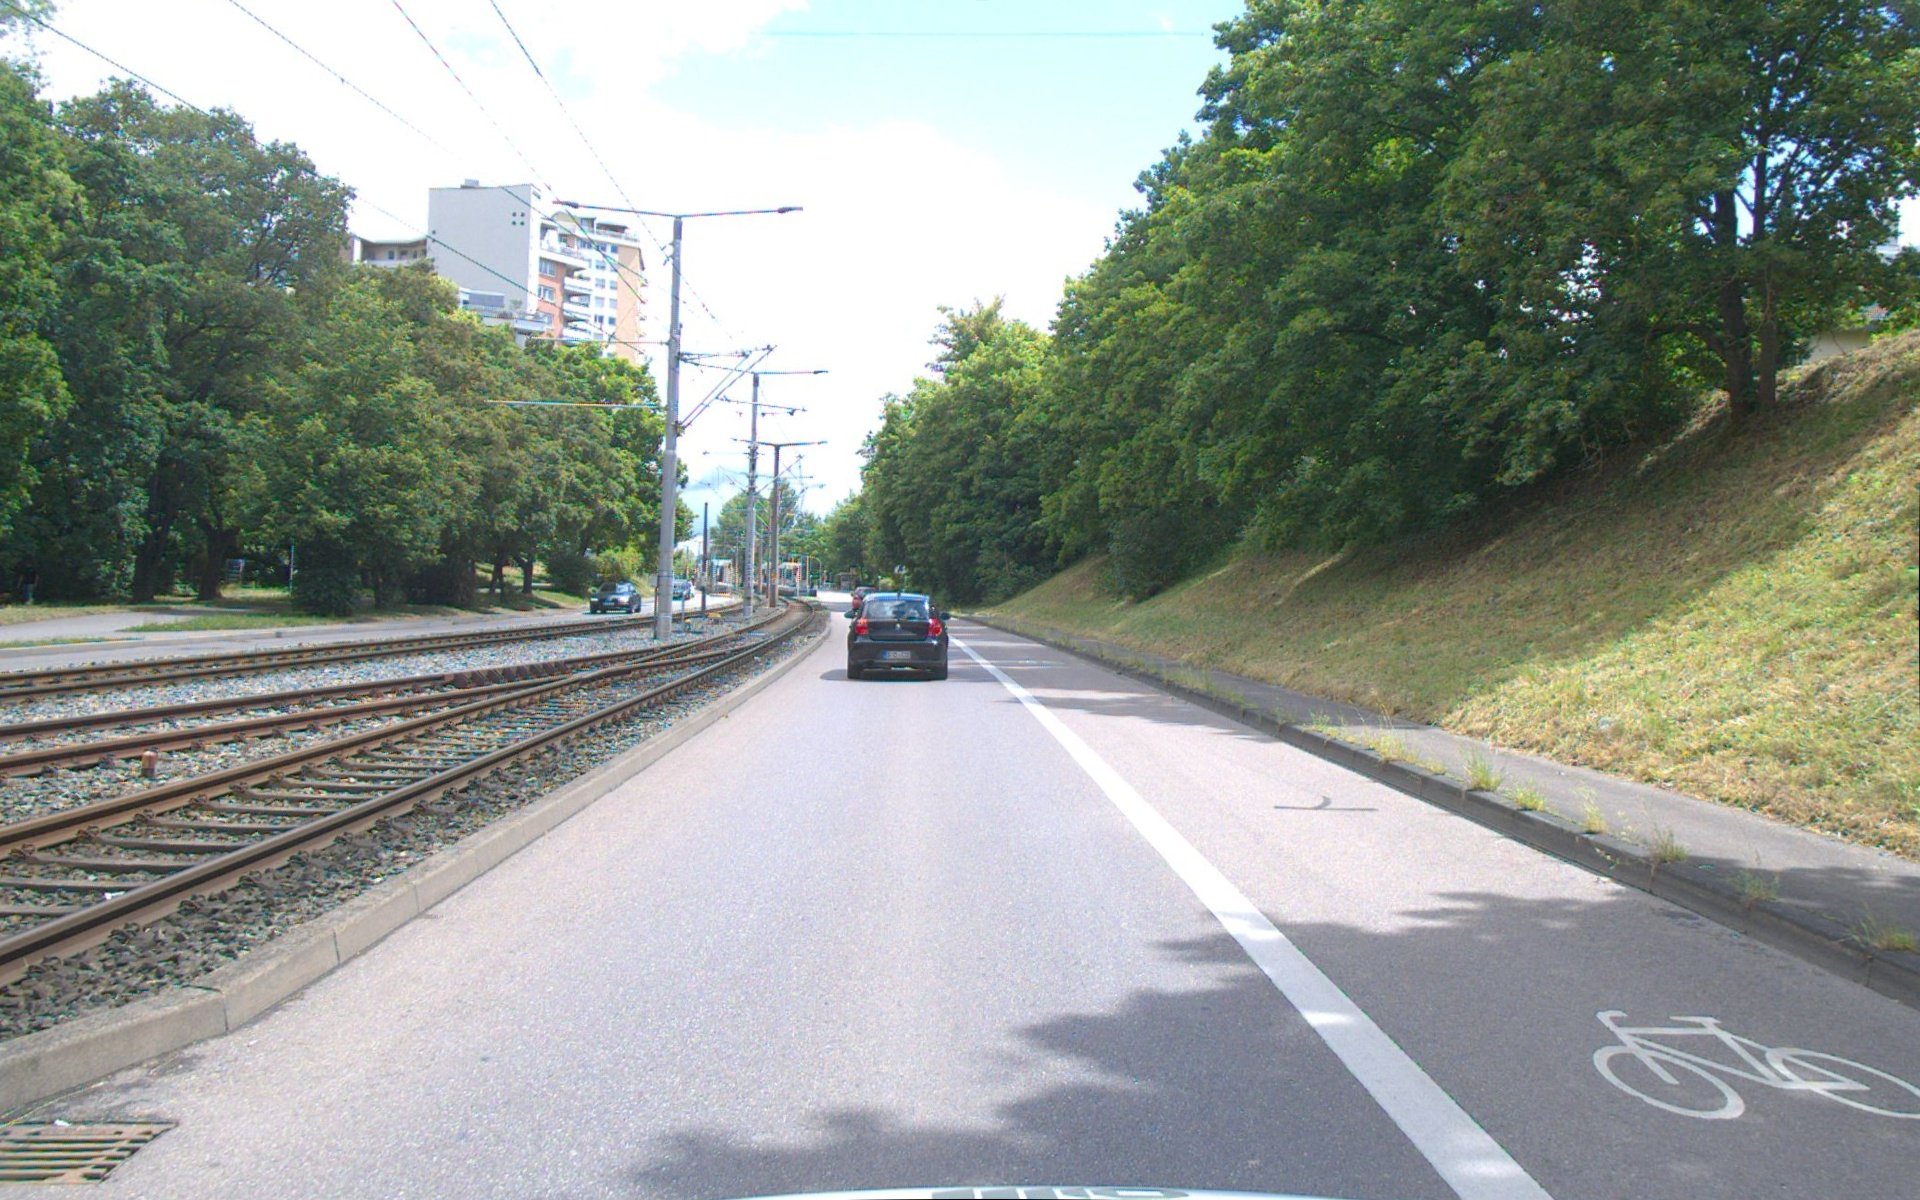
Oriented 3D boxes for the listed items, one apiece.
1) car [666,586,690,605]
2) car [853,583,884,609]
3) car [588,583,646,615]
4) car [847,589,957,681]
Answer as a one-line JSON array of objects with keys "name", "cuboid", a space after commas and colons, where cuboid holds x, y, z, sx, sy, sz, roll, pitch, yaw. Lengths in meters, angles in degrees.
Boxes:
[{"name": "car", "cuboid": [-22.891, -0.371, 134.242, 1.741, 1.524, 3.990, 1, 0, -8]}, {"name": "car", "cuboid": [-5.479, -0.246, 98.737, 1.746, 1.485, 3.917, 1, 0, -5]}, {"name": "car", "cuboid": [-15.869, -0.048, 76.709, 1.798, 1.415, 4.860, -1, 0, -2]}, {"name": "car", "cuboid": [-1.077, 0.550, 28.726, 1.746, 1.485, 3.917, 0, 0, -5]}]
